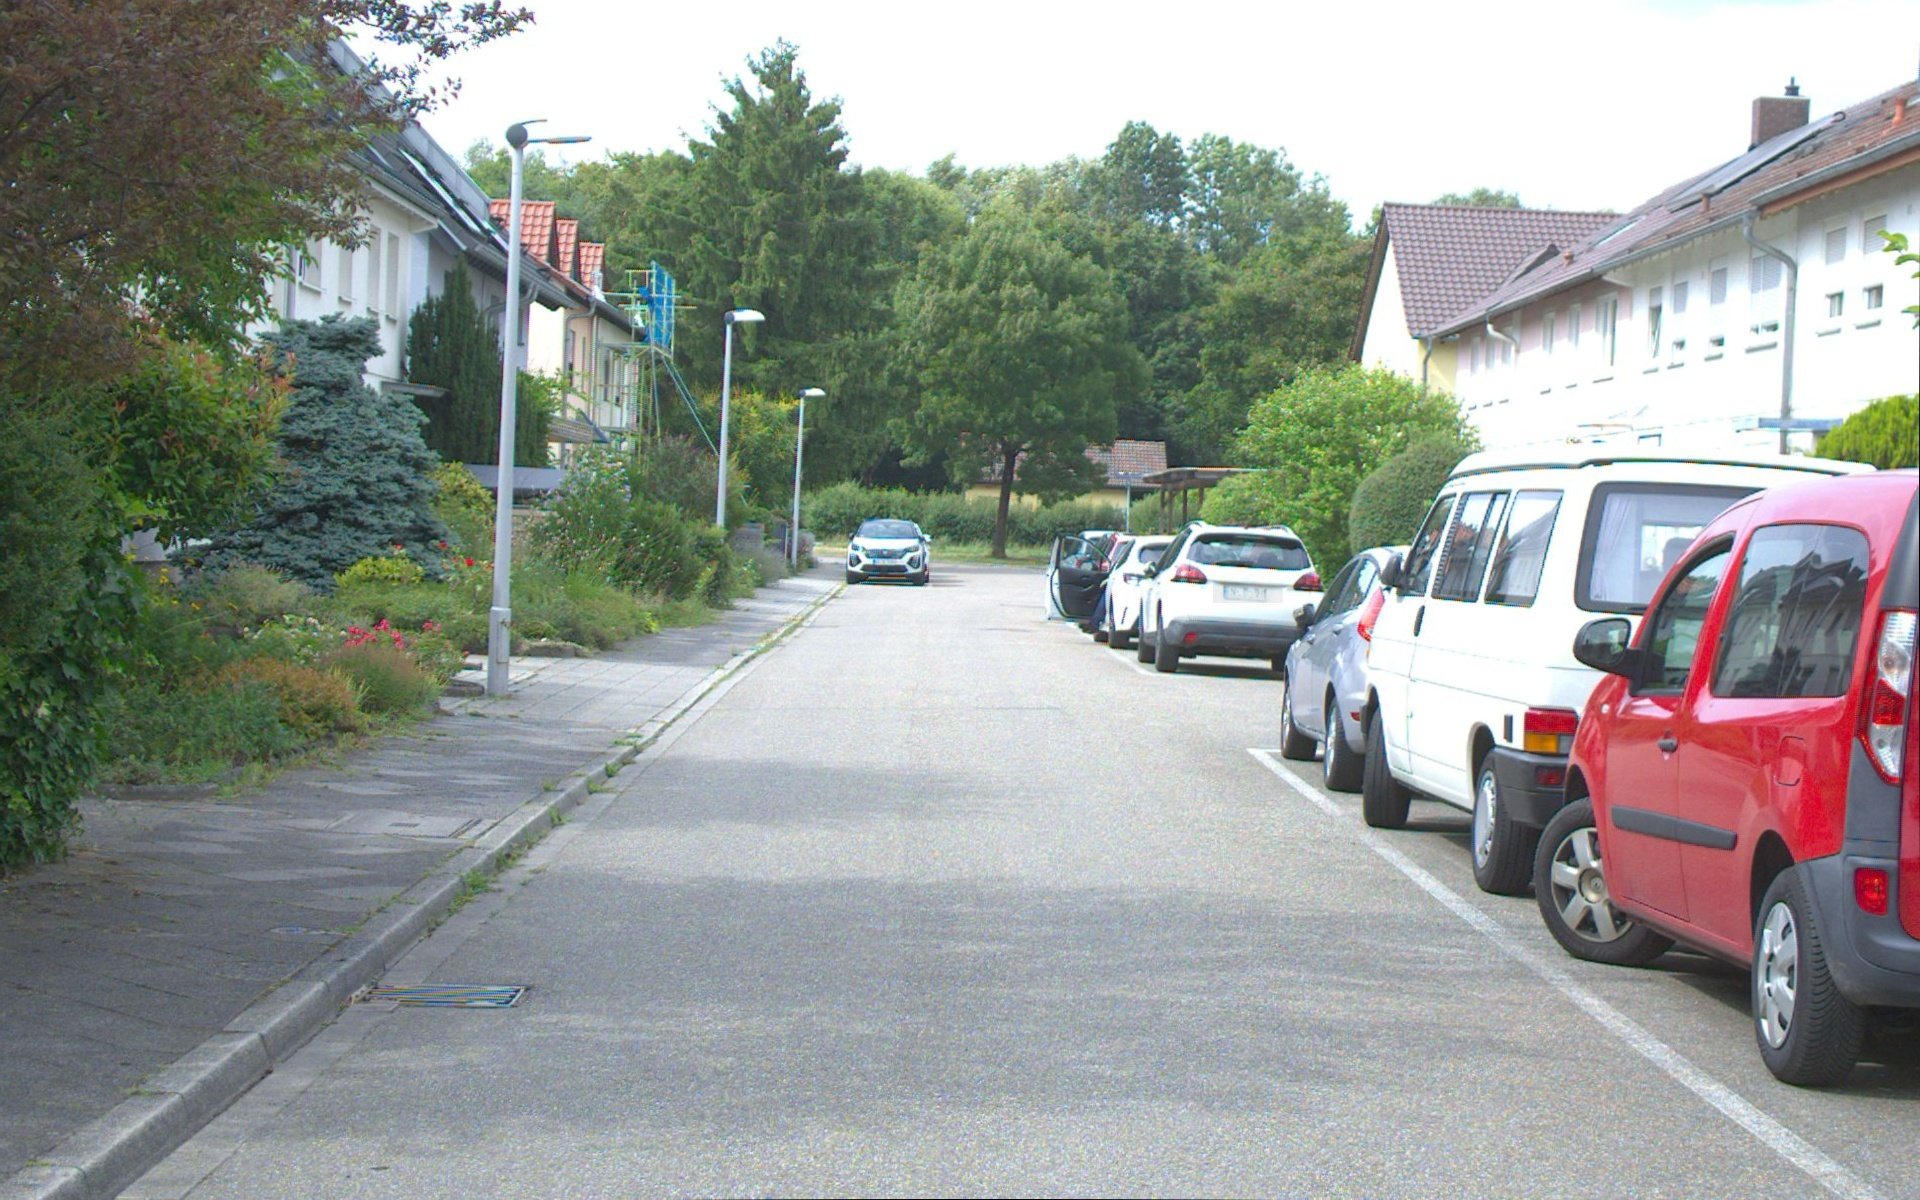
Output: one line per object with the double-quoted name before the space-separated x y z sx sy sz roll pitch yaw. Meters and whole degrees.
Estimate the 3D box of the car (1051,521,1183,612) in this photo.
"car" 2.698 -0.609 59.895 1.864 1.412 4.254 3 2 -3

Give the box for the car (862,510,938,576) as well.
"car" -1.492 -1.453 86.200 1.810 1.556 4.848 2 2 -1

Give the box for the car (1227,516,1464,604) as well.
"car" 7.330 -0.777 65.692 4.270 1.554 1.935 1 1 0

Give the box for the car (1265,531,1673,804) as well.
"car" 3.053 0.341 21.453 1.900 1.454 4.130 2 2 0

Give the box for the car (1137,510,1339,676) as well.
"car" 2.871 -0.123 36.286 1.714 1.538 3.974 4 1 0

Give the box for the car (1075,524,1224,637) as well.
"car" 2.683 -0.320 49.565 1.773 1.431 4.826 4 1 0

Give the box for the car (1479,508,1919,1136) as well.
"car" 3.118 0.554 11.351 1.810 1.645 4.412 2 2 -4

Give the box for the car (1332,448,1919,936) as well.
"car" 3.158 0.313 16.346 2.020 1.940 4.748 2 2 -2

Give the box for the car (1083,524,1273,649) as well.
"car" 2.701 -0.215 43.550 1.838 1.408 4.638 2 2 -3

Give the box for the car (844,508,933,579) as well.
"car" -1.659 -1.355 80.802 1.934 1.551 4.635 2 2 0

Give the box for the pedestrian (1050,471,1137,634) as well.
"pedestrian" 1.684 -0.609 43.468 0.912 2.007 0.951 2 1 -5
